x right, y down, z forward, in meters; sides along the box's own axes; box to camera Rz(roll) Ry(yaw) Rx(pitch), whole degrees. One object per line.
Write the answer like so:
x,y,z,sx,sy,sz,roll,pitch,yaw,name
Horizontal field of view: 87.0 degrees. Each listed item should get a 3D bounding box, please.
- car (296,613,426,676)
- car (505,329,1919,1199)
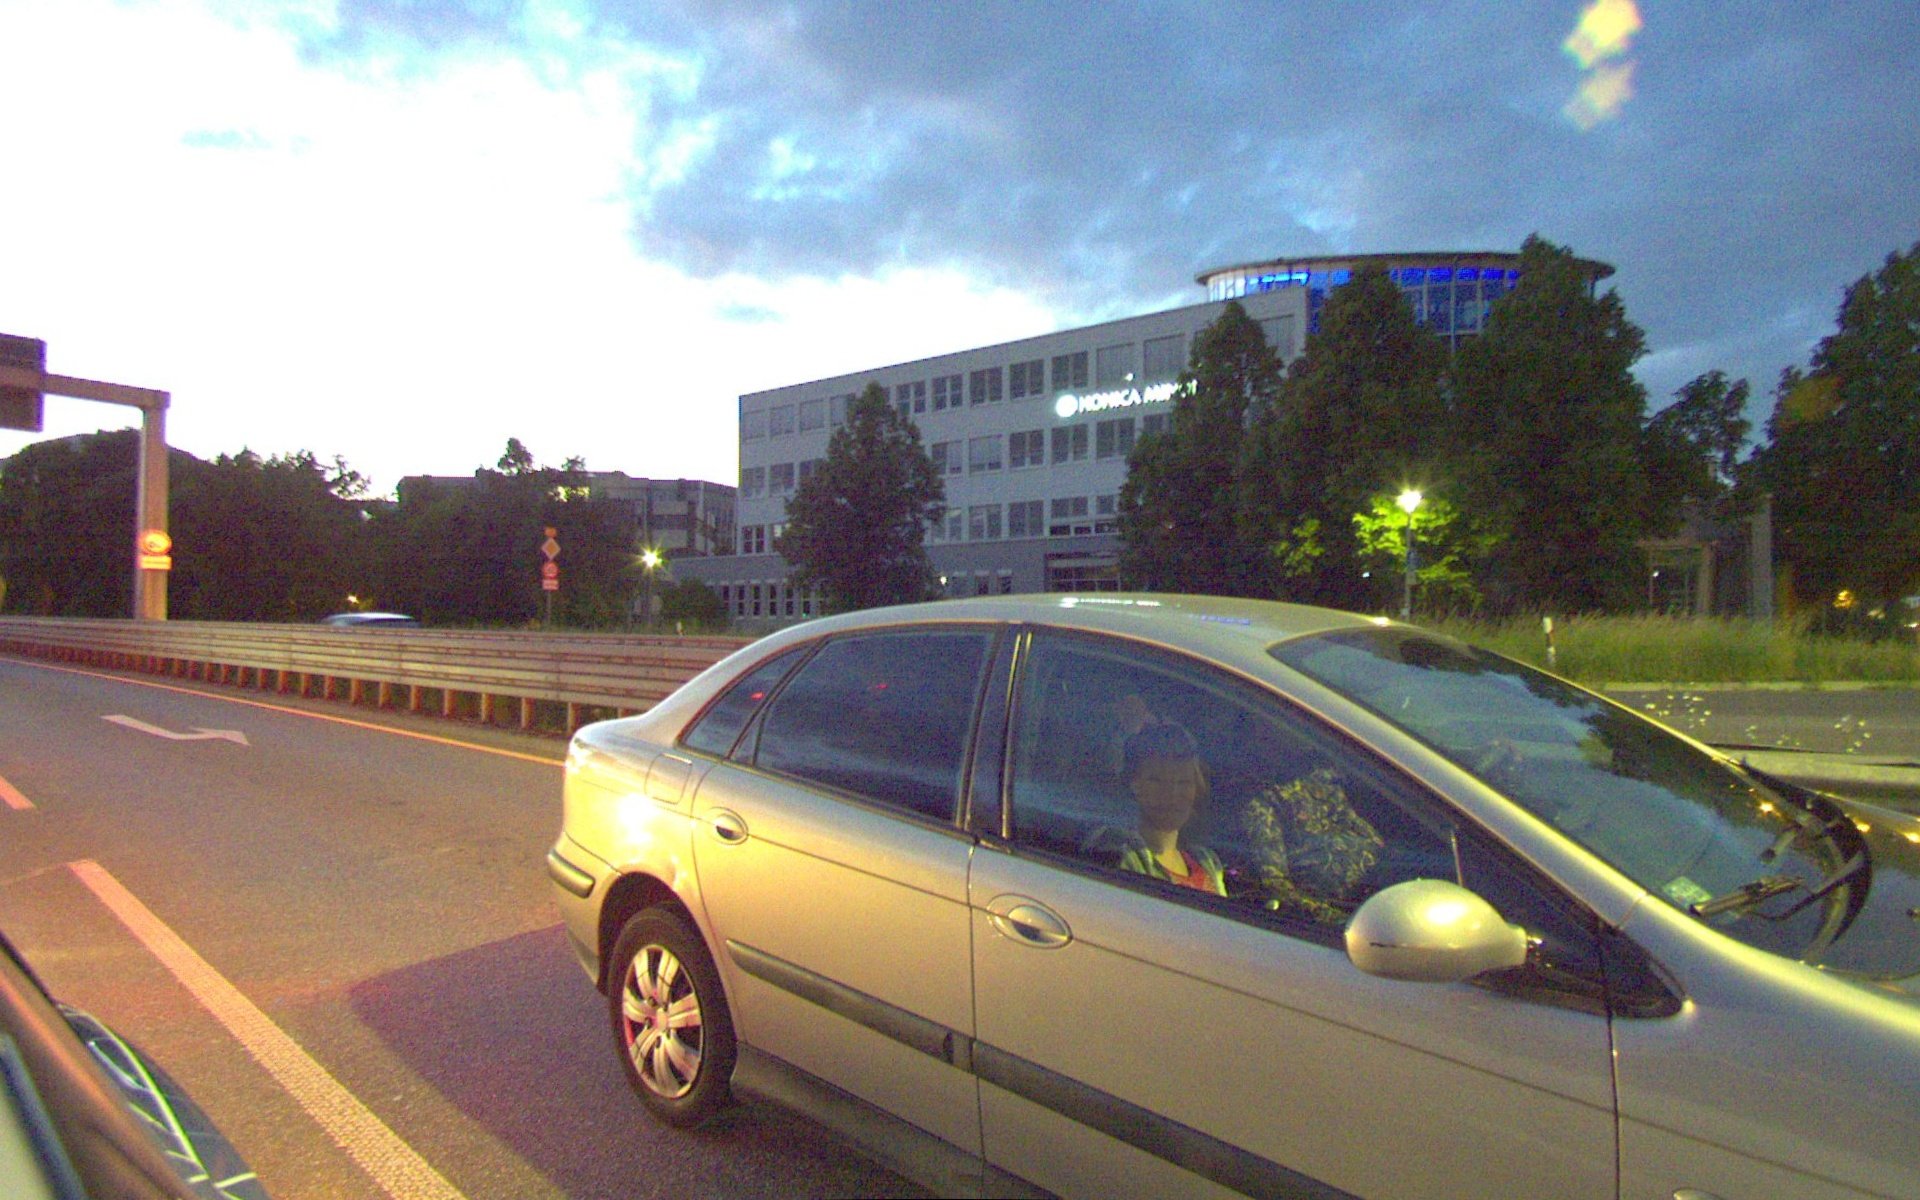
-14.931,1.064,25.139,4.111,1.454,1.738,-2,-2,44,car
0.716,0.555,2.442,4.409,1.665,1.648,-1,0,42,car
